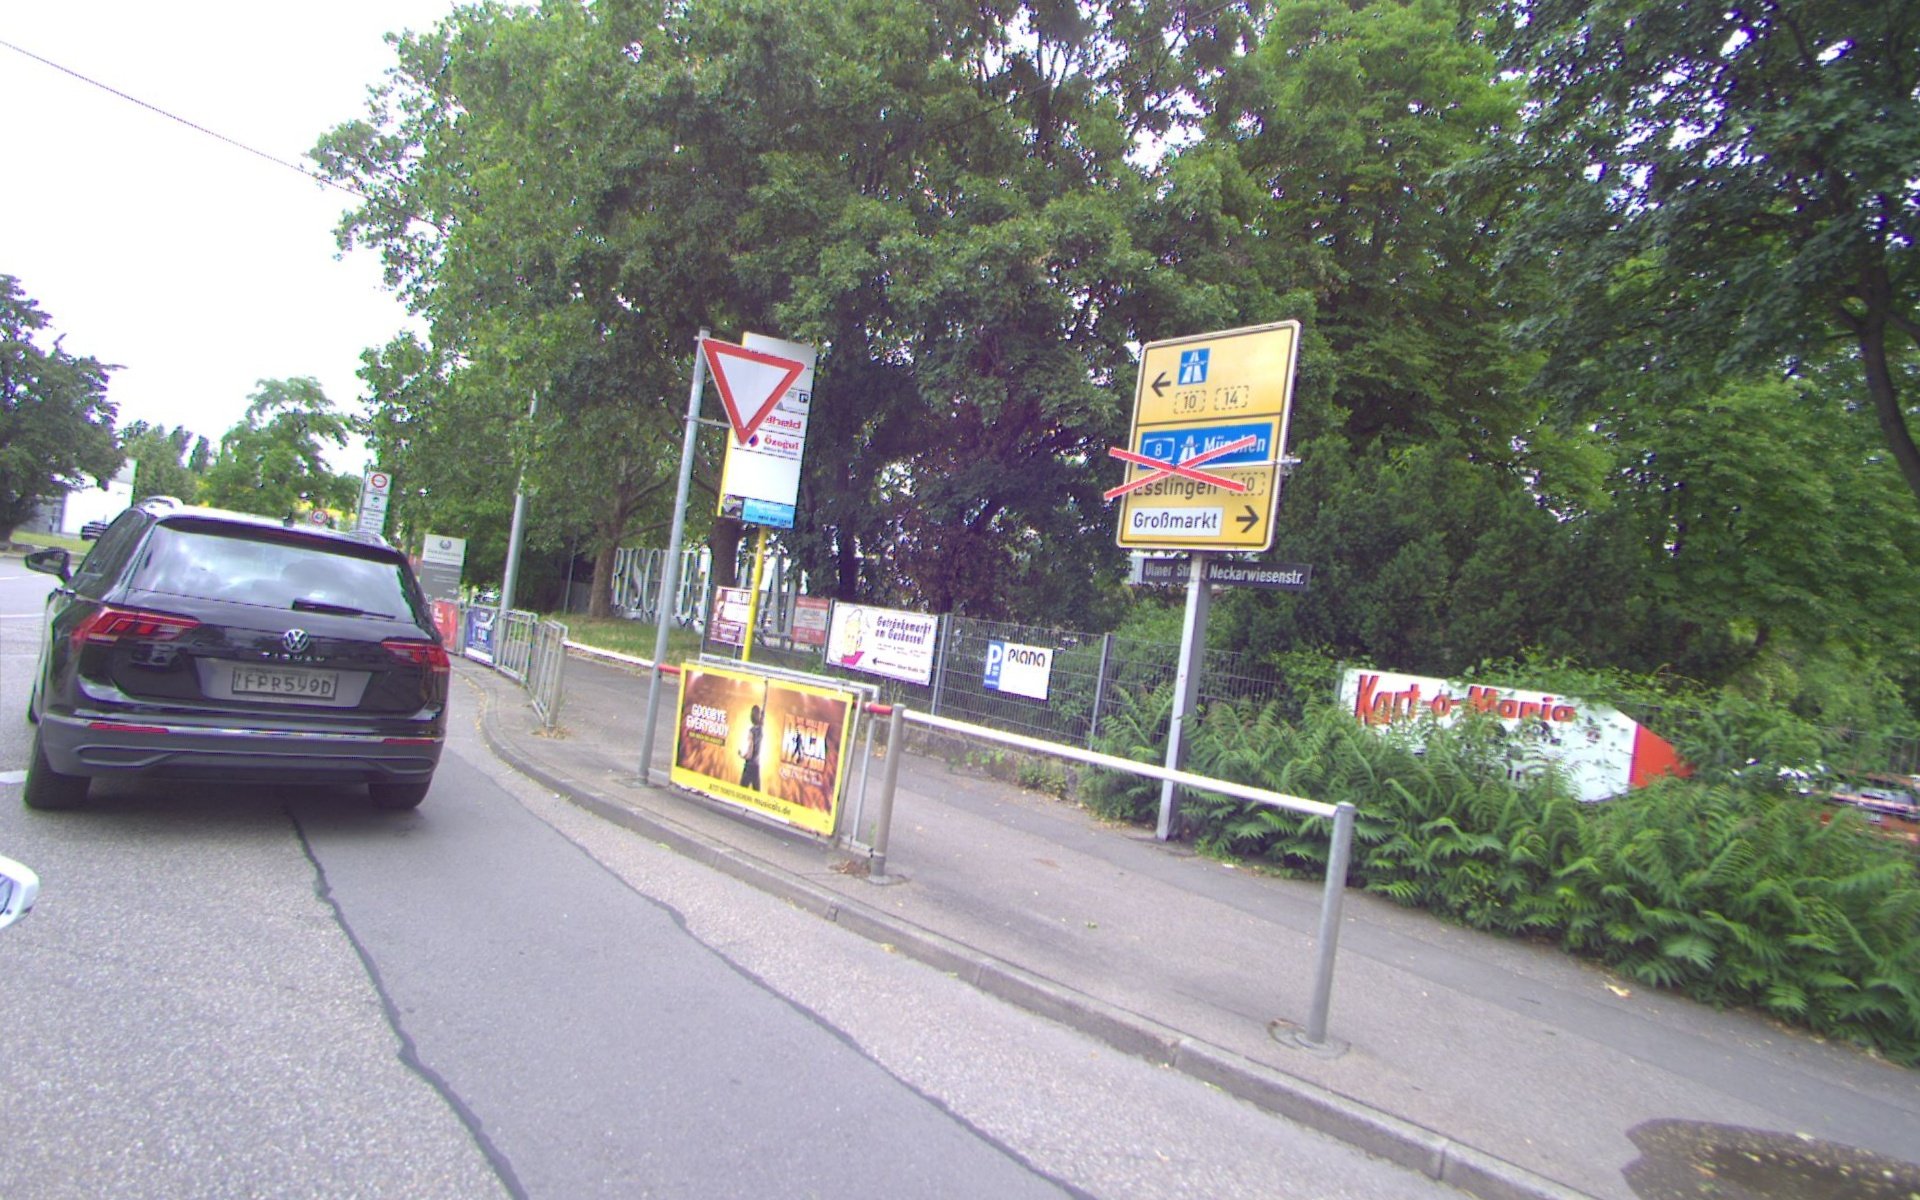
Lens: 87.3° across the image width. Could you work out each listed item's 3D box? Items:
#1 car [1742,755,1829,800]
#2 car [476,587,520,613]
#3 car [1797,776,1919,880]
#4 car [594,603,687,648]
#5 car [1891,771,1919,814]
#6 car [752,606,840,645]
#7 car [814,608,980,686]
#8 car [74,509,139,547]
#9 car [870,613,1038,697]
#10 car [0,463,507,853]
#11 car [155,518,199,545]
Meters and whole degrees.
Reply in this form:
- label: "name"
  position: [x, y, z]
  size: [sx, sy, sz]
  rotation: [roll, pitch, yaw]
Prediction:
- label: "car"
  position: [31.749, 6.833, 38.678]
  size: [3.283, 1.282, 1.403]
  rotation: [9, -2, -30]
- label: "car"
  position: [-33.649, 0.042, 73.389]
  size: [1.687, 1.506, 3.372]
  rotation: [8, -3, -5]
- label: "car"
  position: [15.521, 3.766, 16.592]
  size: [3.671, 1.263, 1.693]
  rotation: [10, -2, -36]
- label: "car"
  position: [-14.827, 1.193, 46.782]
  size: [3.706, 1.522, 1.465]
  rotation: [10, -2, -41]
- label: "car"
  position: [37.806, 7.610, 39.052]
  size: [3.627, 1.457, 1.583]
  rotation: [9, -2, -34]
- label: "car"
  position: [-9.557, 1.487, 58.739]
  size: [4.605, 1.576, 1.980]
  rotation: [10, -2, -37]
- label: "car"
  position: [-1.821, 1.406, 29.798]
  size: [4.490, 1.630, 1.867]
  rotation: [10, -3, -36]
- label: "car"
  position: [-59.541, -4.968, 70.264]
  size: [1.945, 2.036, 4.201]
  rotation: [9, -3, -21]
- label: "car"
  position: [-0.108, 1.496, 26.885]
  size: [4.287, 1.630, 1.575]
  rotation: [11, -3, -38]
- label: "car"
  position: [-4.647, 0.227, 6.387]
  size: [1.840, 1.653, 4.135]
  rotation: [11, -3, -43]
- label: "car"
  position: [-75.371, -6.582, 96.875]
  size: [1.945, 2.036, 4.201]
  rotation: [9, -3, -21]
